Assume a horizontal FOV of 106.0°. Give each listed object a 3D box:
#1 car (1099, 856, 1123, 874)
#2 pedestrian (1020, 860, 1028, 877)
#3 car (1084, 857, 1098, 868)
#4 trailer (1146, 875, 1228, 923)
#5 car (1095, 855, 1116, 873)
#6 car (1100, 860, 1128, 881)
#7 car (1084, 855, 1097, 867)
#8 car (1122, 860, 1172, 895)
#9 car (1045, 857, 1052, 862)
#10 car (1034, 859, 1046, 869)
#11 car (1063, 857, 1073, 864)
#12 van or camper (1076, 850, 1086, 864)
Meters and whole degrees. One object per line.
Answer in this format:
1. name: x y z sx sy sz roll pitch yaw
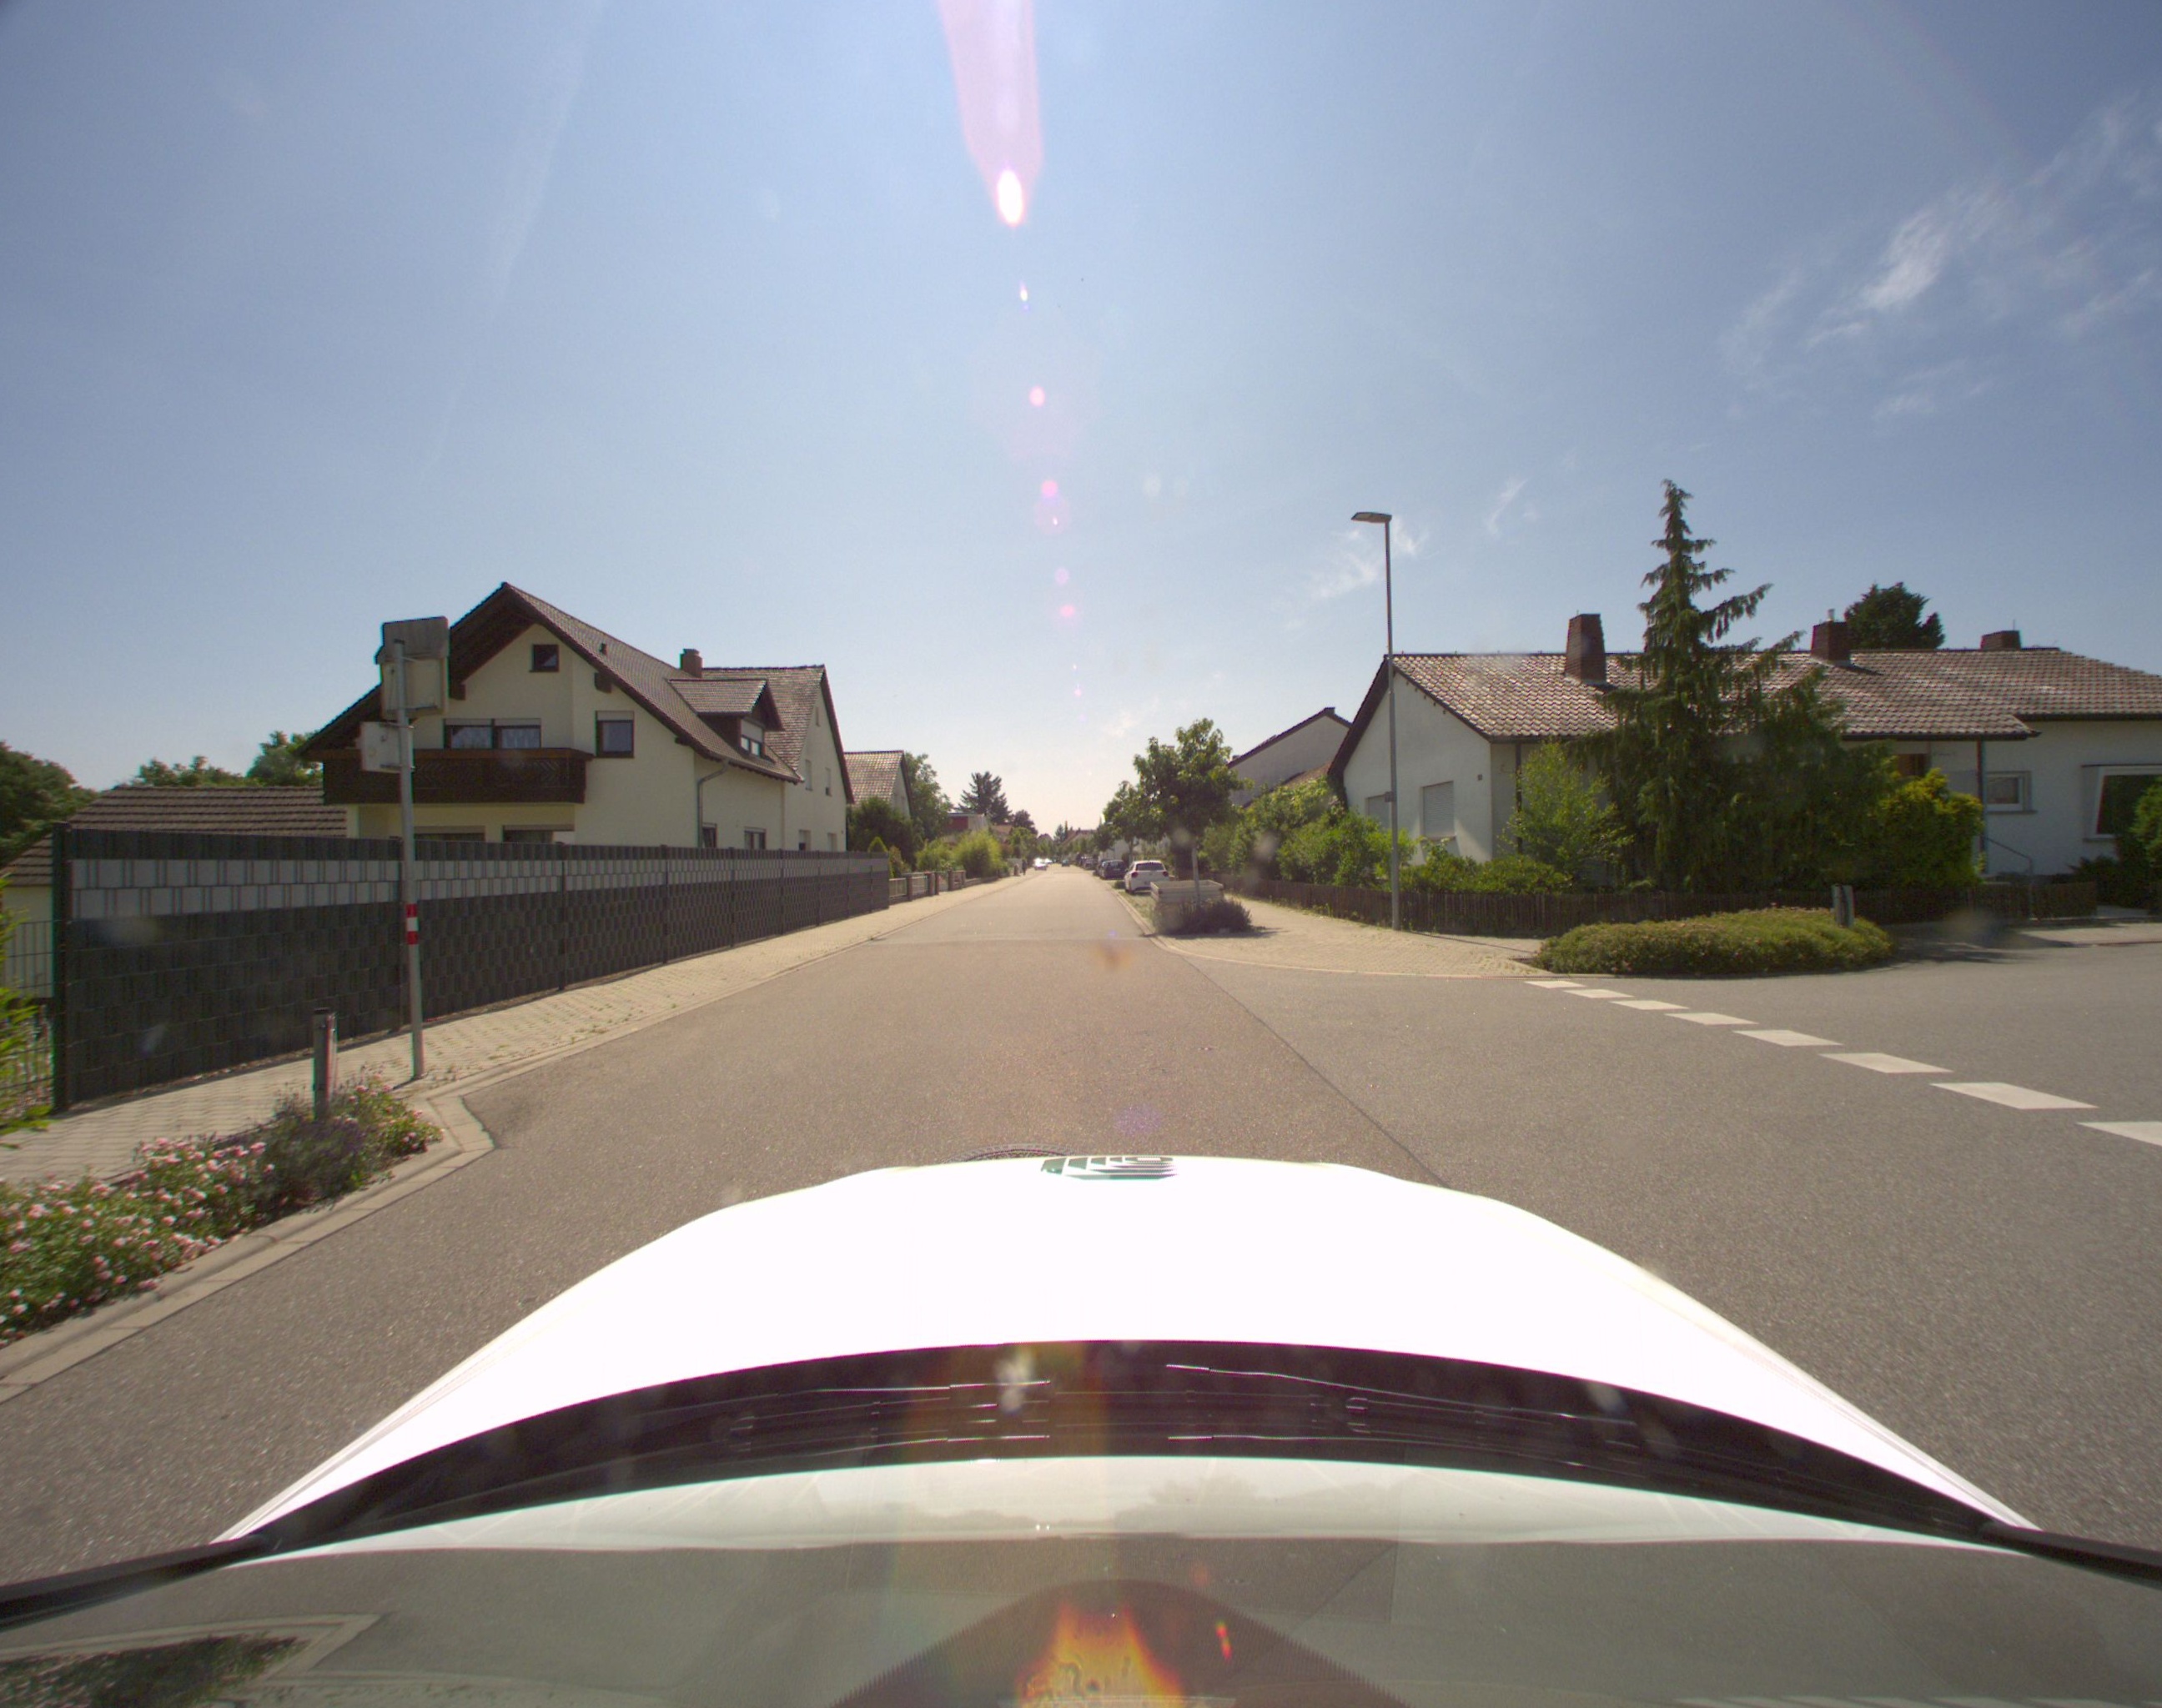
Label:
1. car: 2.510 0.921 69.013 1.809 1.420 4.092 -1 0 0
2. pedestrian: -6.110 1.530 87.605 0.712 1.747 0.960 -1 0 -1
3. car: 1.521 1.198 121.475 1.769 1.595 4.273 -1 0 -3
4. trailer: 2.698 1.123 21.304 1.782 1.058 2.899 -1 0 0
5. car: 2.315 0.936 78.434 1.809 1.656 4.563 -1 0 0
6. car: 2.529 1.261 63.212 1.738 1.533 4.444 -1 0 -3
7. car: 1.611 1.206 138.349 2.093 1.882 4.841 -1 0 0
8. car: 2.828 0.990 35.668 1.809 1.420 3.867 -1 0 0
9. car: -9.362 1.638 234.737 1.846 1.478 4.700 -1 0 0
10. car: -6.503 1.616 129.918 1.846 1.488 4.383 -1 0 -1
11. car: -2.752 1.411 168.812 1.987 1.430 4.000 -1 0 0
12. van or camper: 0.014 0.620 177.541 1.988 2.941 3.997 -1 0 -2
